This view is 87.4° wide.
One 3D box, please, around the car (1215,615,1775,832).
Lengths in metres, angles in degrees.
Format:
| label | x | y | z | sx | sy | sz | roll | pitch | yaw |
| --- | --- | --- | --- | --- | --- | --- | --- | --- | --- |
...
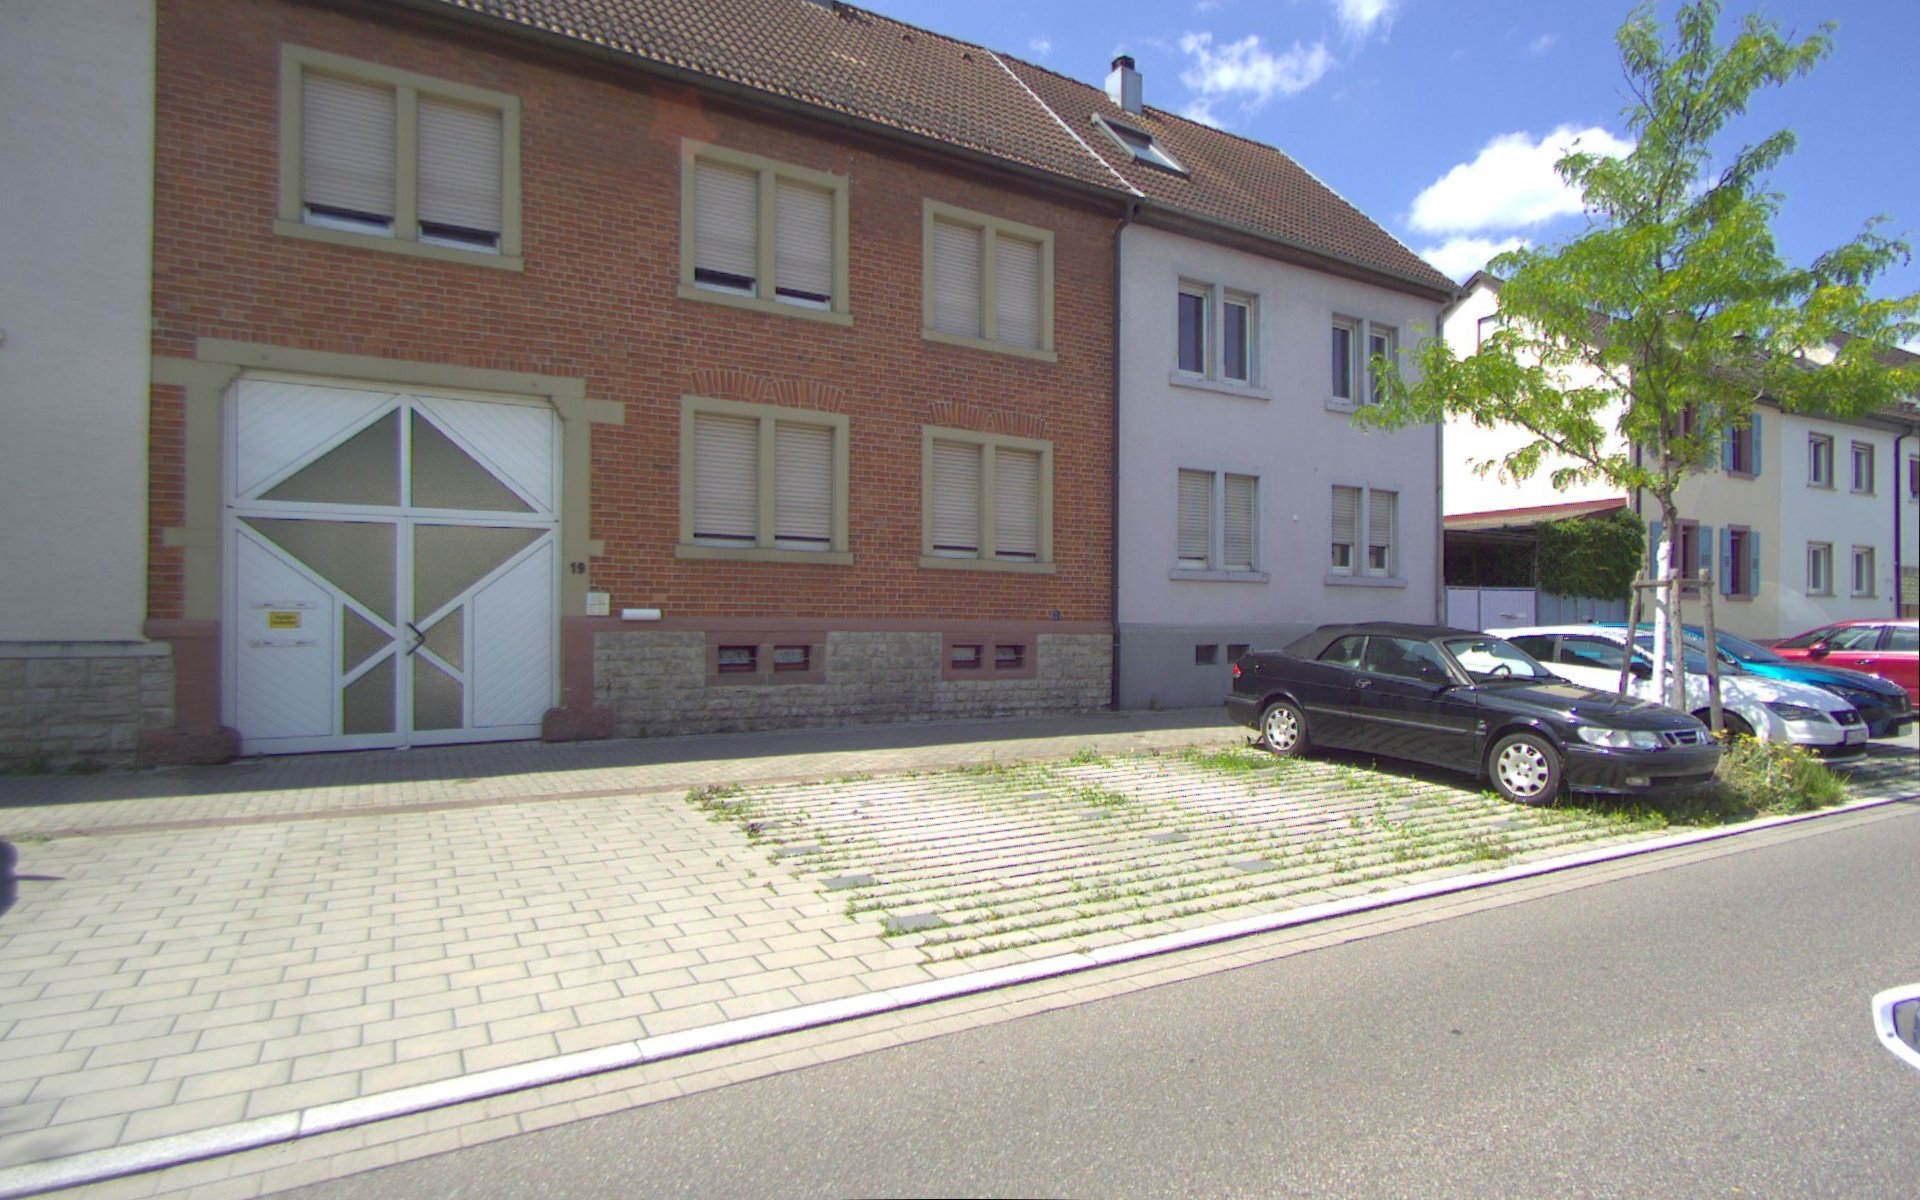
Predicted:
| label | x | y | z | sx | sy | sz | roll | pitch | yaw |
| --- | --- | --- | --- | --- | --- | --- | --- | --- | --- |
| car | 4.722 | 0.941 | 9.658 | 1.774 | 1.444 | 4.503 | 1 | 0 | -29 |

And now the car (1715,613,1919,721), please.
| label | x | y | z | sx | sy | sz | roll | pitch | yaw |
| --- | --- | --- | --- | --- | --- | --- | --- | --- | --- |
| car | 15.545 | 1.091 | 16.847 | 1.821 | 1.633 | 4.233 | 1 | 0 | -30 |

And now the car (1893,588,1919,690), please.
| label | x | y | z | sx | sy | sz | roll | pitch | yaw |
| --- | --- | --- | --- | --- | --- | --- | --- | --- | --- |
| car | 22.429 | 0.890 | 20.579 | 1.902 | 2.206 | 4.488 | 1 | 0 | -29 |

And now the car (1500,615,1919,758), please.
| label | x | y | z | sx | sy | sz | roll | pitch | yaw |
| --- | --- | --- | --- | --- | --- | --- | --- | --- | --- |
| car | 10.023 | 1.024 | 13.692 | 1.757 | 1.497 | 4.377 | 1 | 0 | -33 |

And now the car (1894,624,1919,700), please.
| label | x | y | z | sx | sy | sz | roll | pitch | yaw |
| --- | --- | --- | --- | --- | --- | --- | --- | --- | --- |
| car | 20.465 | 1.274 | 18.837 | 1.734 | 1.479 | 3.991 | 1 | 0 | -29 |

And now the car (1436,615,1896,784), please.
| label | x | y | z | sx | sy | sz | roll | pitch | yaw |
| --- | --- | --- | --- | --- | --- | --- | --- | --- | --- |
| car | 7.964 | 0.993 | 11.735 | 1.756 | 1.497 | 4.031 | 1 | 0 | -32 |

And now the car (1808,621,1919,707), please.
| label | x | y | z | sx | sy | sz | roll | pitch | yaw |
| --- | --- | --- | --- | --- | --- | --- | --- | --- | --- |
| car | 17.981 | 1.183 | 18.094 | 1.736 | 1.479 | 3.770 | 1 | 0 | -32 |
